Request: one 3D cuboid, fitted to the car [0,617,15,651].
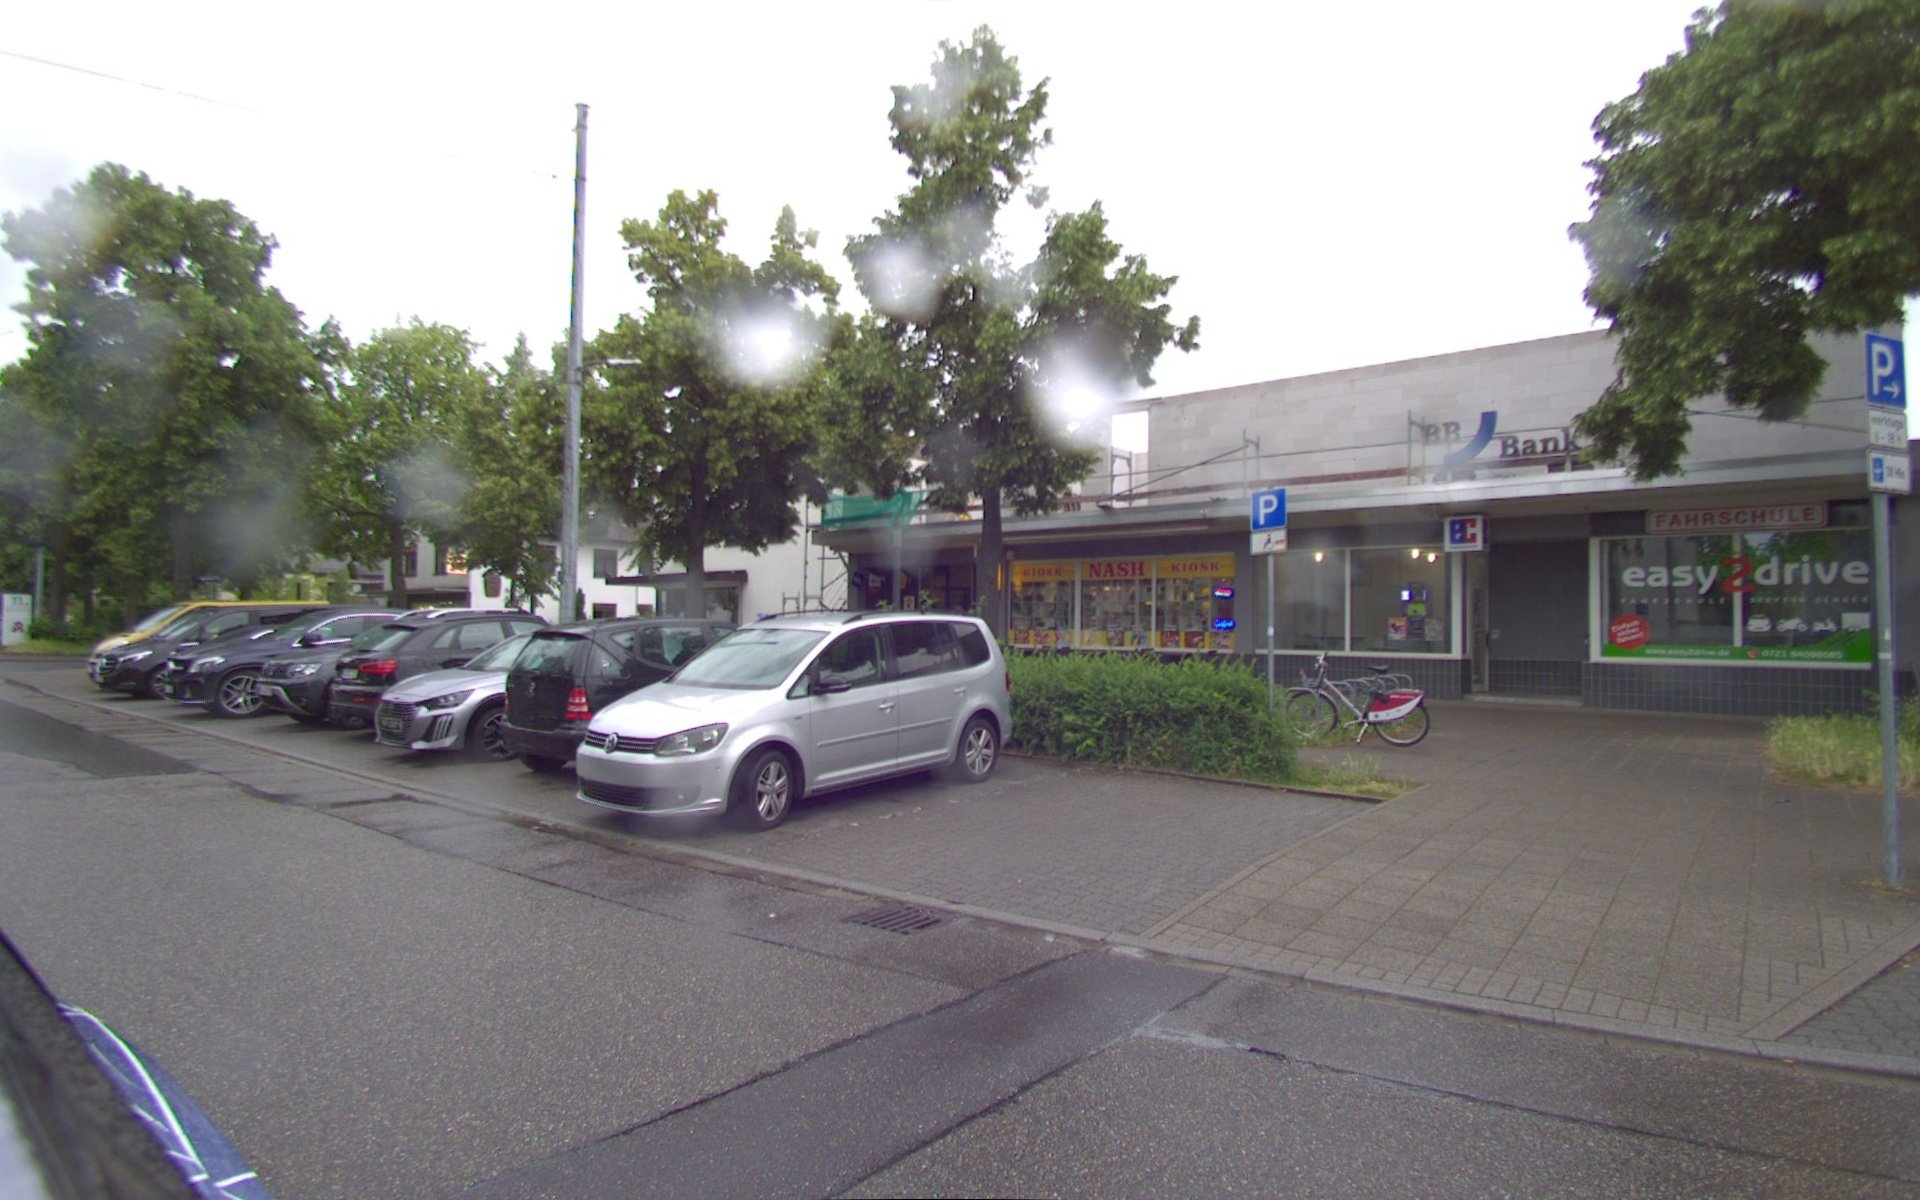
[{"bbox_3d":[-49.624,1.740,50.054,1.997,1.698,3.950,-1,0,37],"label":"car"}]

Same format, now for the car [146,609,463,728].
[{"bbox_3d":[-11.000,1.035,17.264,1.713,1.740,4.231,-1,0,38],"label":"car"}]

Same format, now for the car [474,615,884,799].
[{"bbox_3d":[-2.864,0.982,11.155,1.633,1.577,4.231,-1,0,38],"label":"car"}]

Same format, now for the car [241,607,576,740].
[{"bbox_3d":[-8.335,0.997,15.631,1.713,1.740,4.231,-1,0,38],"label":"car"}]

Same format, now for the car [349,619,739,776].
[{"bbox_3d":[-4.958,1.041,12.597,1.713,1.544,4.231,-1,0,38],"label":"car"}]

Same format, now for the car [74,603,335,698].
[{"bbox_3d":[-17.417,1.077,23.561,1.713,1.973,4.600,-1,0,38],"label":"car"}]

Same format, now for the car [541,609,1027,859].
[{"bbox_3d":[-1.291,0.923,9.008,1.713,1.647,4.231,-1,0,38],"label":"car"}]

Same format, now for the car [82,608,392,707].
[{"bbox_3d":[-15.147,1.102,21.518,1.713,1.813,5.114,-1,0,38],"label":"car"}]

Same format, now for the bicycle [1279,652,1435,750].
[{"bbox_3d":[4.818,1.204,12.339,1.739,1.115,0.316,-1,0,25],"label":"bicycle"}]

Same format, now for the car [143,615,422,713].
[{"bbox_3d":[-13.043,1.140,19.722,1.713,1.639,4.231,-1,0,38],"label":"car"}]

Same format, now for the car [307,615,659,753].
[{"bbox_3d":[-6.572,1.044,14.357,1.713,1.607,4.231,-1,0,38],"label":"car"}]
